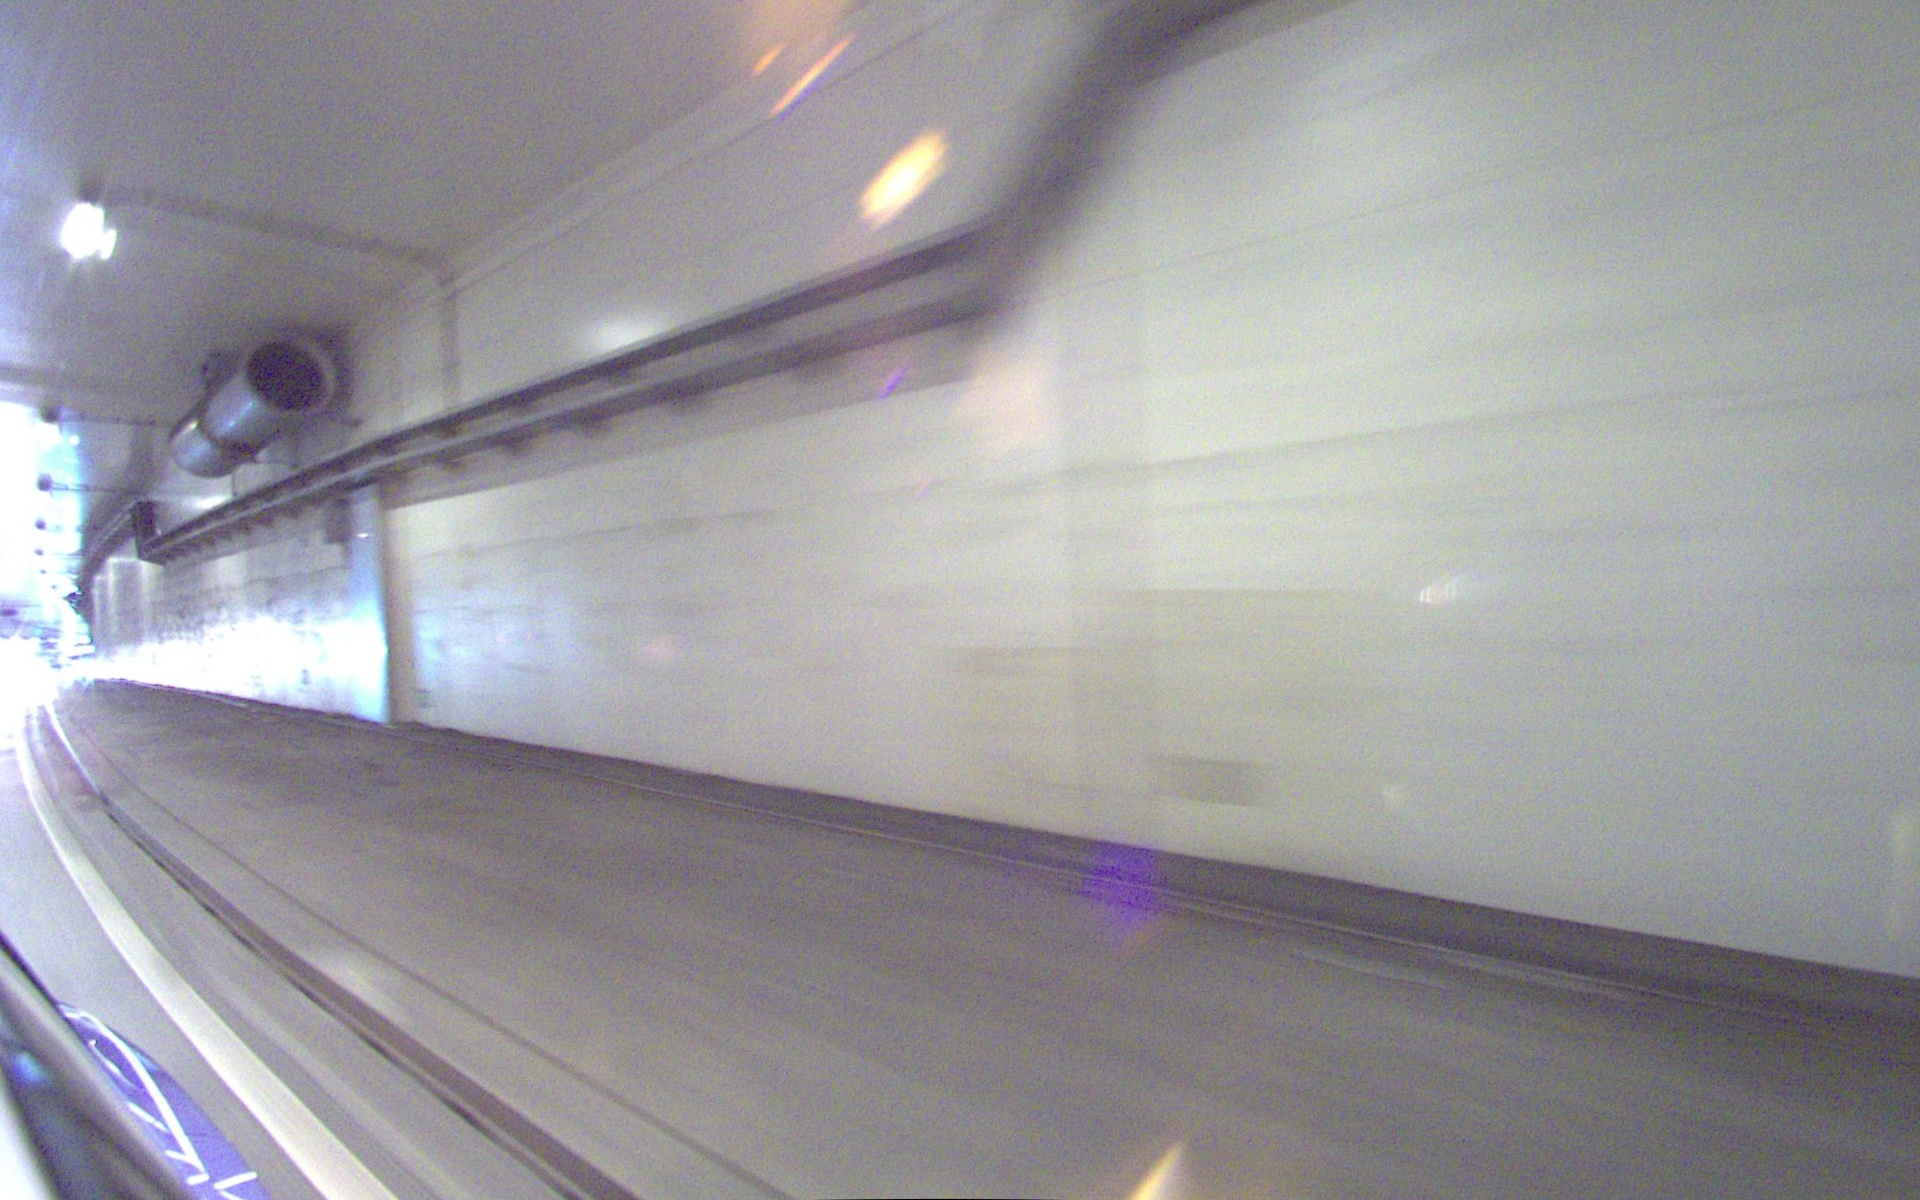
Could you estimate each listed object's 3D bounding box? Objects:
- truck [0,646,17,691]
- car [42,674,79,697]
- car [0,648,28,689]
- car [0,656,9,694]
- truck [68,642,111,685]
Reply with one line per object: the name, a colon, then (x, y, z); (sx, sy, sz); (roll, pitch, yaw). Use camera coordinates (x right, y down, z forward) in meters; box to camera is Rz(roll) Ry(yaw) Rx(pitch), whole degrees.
truck: (-60.418, 4.272, 63.054); (2.044, 2.558, 6.032); (-4, 2, -41)
car: (-82.832, 7.875, 93.238); (1.919, 1.545, 4.011); (-4, 3, -33)
car: (-50.530, 3.654, 53.095); (4.195, 1.944, 1.910); (-6, -2, 41)
car: (-42.689, 3.328, 44.027); (3.820, 1.572, 1.740); (-3, 1, 45)
truck: (-106.088, 7.671, 123.469); (2.842, 4.505, 10.479); (-4, 2, -36)
